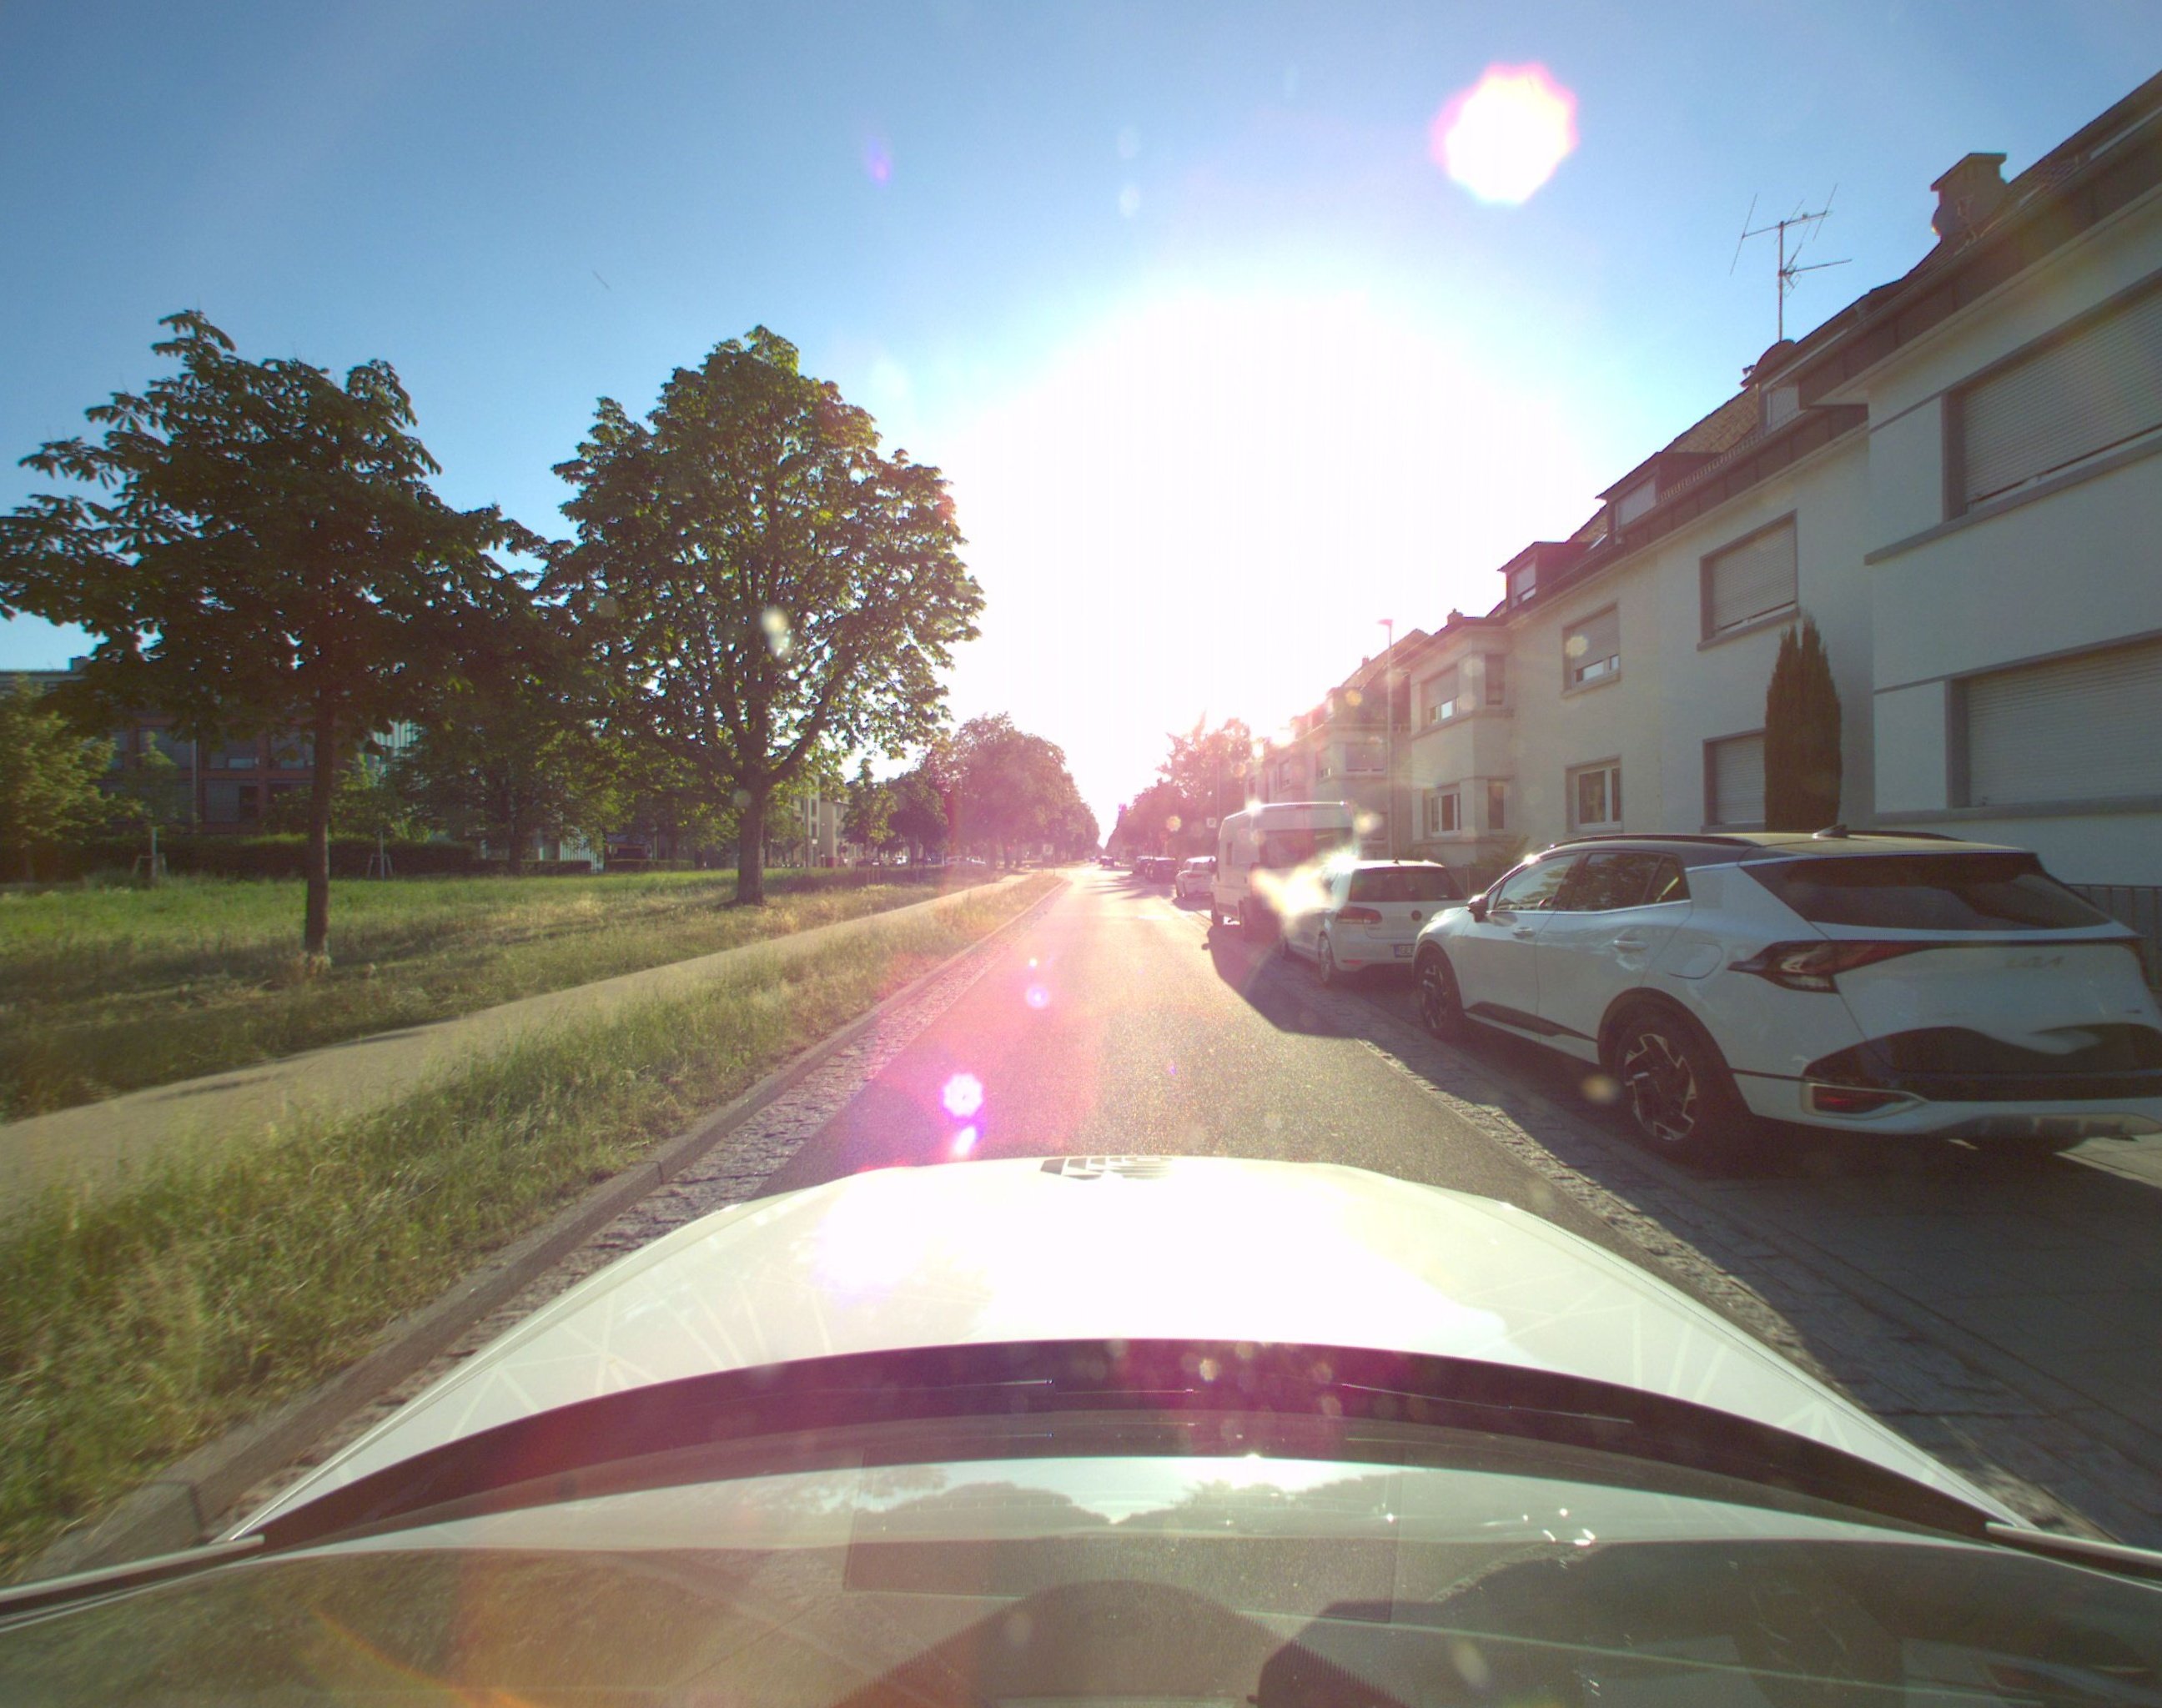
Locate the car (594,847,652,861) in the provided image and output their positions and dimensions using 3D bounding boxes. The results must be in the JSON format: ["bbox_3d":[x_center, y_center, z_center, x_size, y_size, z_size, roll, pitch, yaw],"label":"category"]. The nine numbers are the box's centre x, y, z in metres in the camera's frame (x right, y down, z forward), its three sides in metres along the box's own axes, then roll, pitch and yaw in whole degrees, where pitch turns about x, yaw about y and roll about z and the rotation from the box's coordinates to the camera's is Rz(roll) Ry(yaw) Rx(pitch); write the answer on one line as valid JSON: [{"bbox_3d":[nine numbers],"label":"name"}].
[{"bbox_3d":[-46.764,0.014,83.212,4.762,1.434,1.809,0,-2,-9],"label":"car"}]

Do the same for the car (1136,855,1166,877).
[{"bbox_3d":[4.690,0.790,55.274,1.740,1.474,4.255,0,0,1],"label":"car"}]

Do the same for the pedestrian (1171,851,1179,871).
[{"bbox_3d":[7.886,0.582,68.424,0.665,1.708,0.624,0,0,9],"label":"pedestrian"}]

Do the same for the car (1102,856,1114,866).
[{"bbox_3d":[4.033,0.983,122.355,1.634,1.451,3.311,0,0,4],"label":"car"}]

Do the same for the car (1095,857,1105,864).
[{"bbox_3d":[3.678,1.195,156.517,1.838,1.394,3.831,0,0,2],"label":"car"}]

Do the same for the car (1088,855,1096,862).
[{"bbox_3d":[3.258,1.367,231.422,2.126,2.013,3.904,0,0,2],"label":"car"}]

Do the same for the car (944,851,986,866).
[{"bbox_3d":[-12.743,0.502,89.579,4.420,1.676,1.887,0,0,-17],"label":"car"}]

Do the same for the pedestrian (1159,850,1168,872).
[{"bbox_3d":[6.953,0.605,68.578,0.667,1.865,0.883,0,0,5],"label":"pedestrian"}]

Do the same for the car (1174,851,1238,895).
[{"bbox_3d":[4.488,0.651,29.825,1.776,1.507,4.234,0,0,1],"label":"car"}]

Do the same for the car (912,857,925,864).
[{"bbox_3d":[-32.257,1.253,161.851,1.731,1.427,3.794,0,0,2],"label":"car"}]

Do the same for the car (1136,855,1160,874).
[{"bbox_3d":[5.314,0.800,65.091,1.635,1.427,3.937,-2,0,1],"label":"car"}]

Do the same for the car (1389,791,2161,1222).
[{"bbox_3d":[3.791,0.591,5.433,1.772,1.645,4.480,-2,0,0],"label":"car"}]

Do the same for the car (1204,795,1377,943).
[{"bbox_3d":[3.975,0.253,16.597,2.122,2.518,5.507,0,0,0],"label":"car"}]

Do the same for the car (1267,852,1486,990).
[{"bbox_3d":[3.667,0.729,10.881,1.615,1.482,4.111,0,0,3],"label":"car"}]

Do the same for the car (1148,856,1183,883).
[{"bbox_3d":[5.017,0.924,48.869,1.712,1.471,3.984,-3,0,1],"label":"car"}]
